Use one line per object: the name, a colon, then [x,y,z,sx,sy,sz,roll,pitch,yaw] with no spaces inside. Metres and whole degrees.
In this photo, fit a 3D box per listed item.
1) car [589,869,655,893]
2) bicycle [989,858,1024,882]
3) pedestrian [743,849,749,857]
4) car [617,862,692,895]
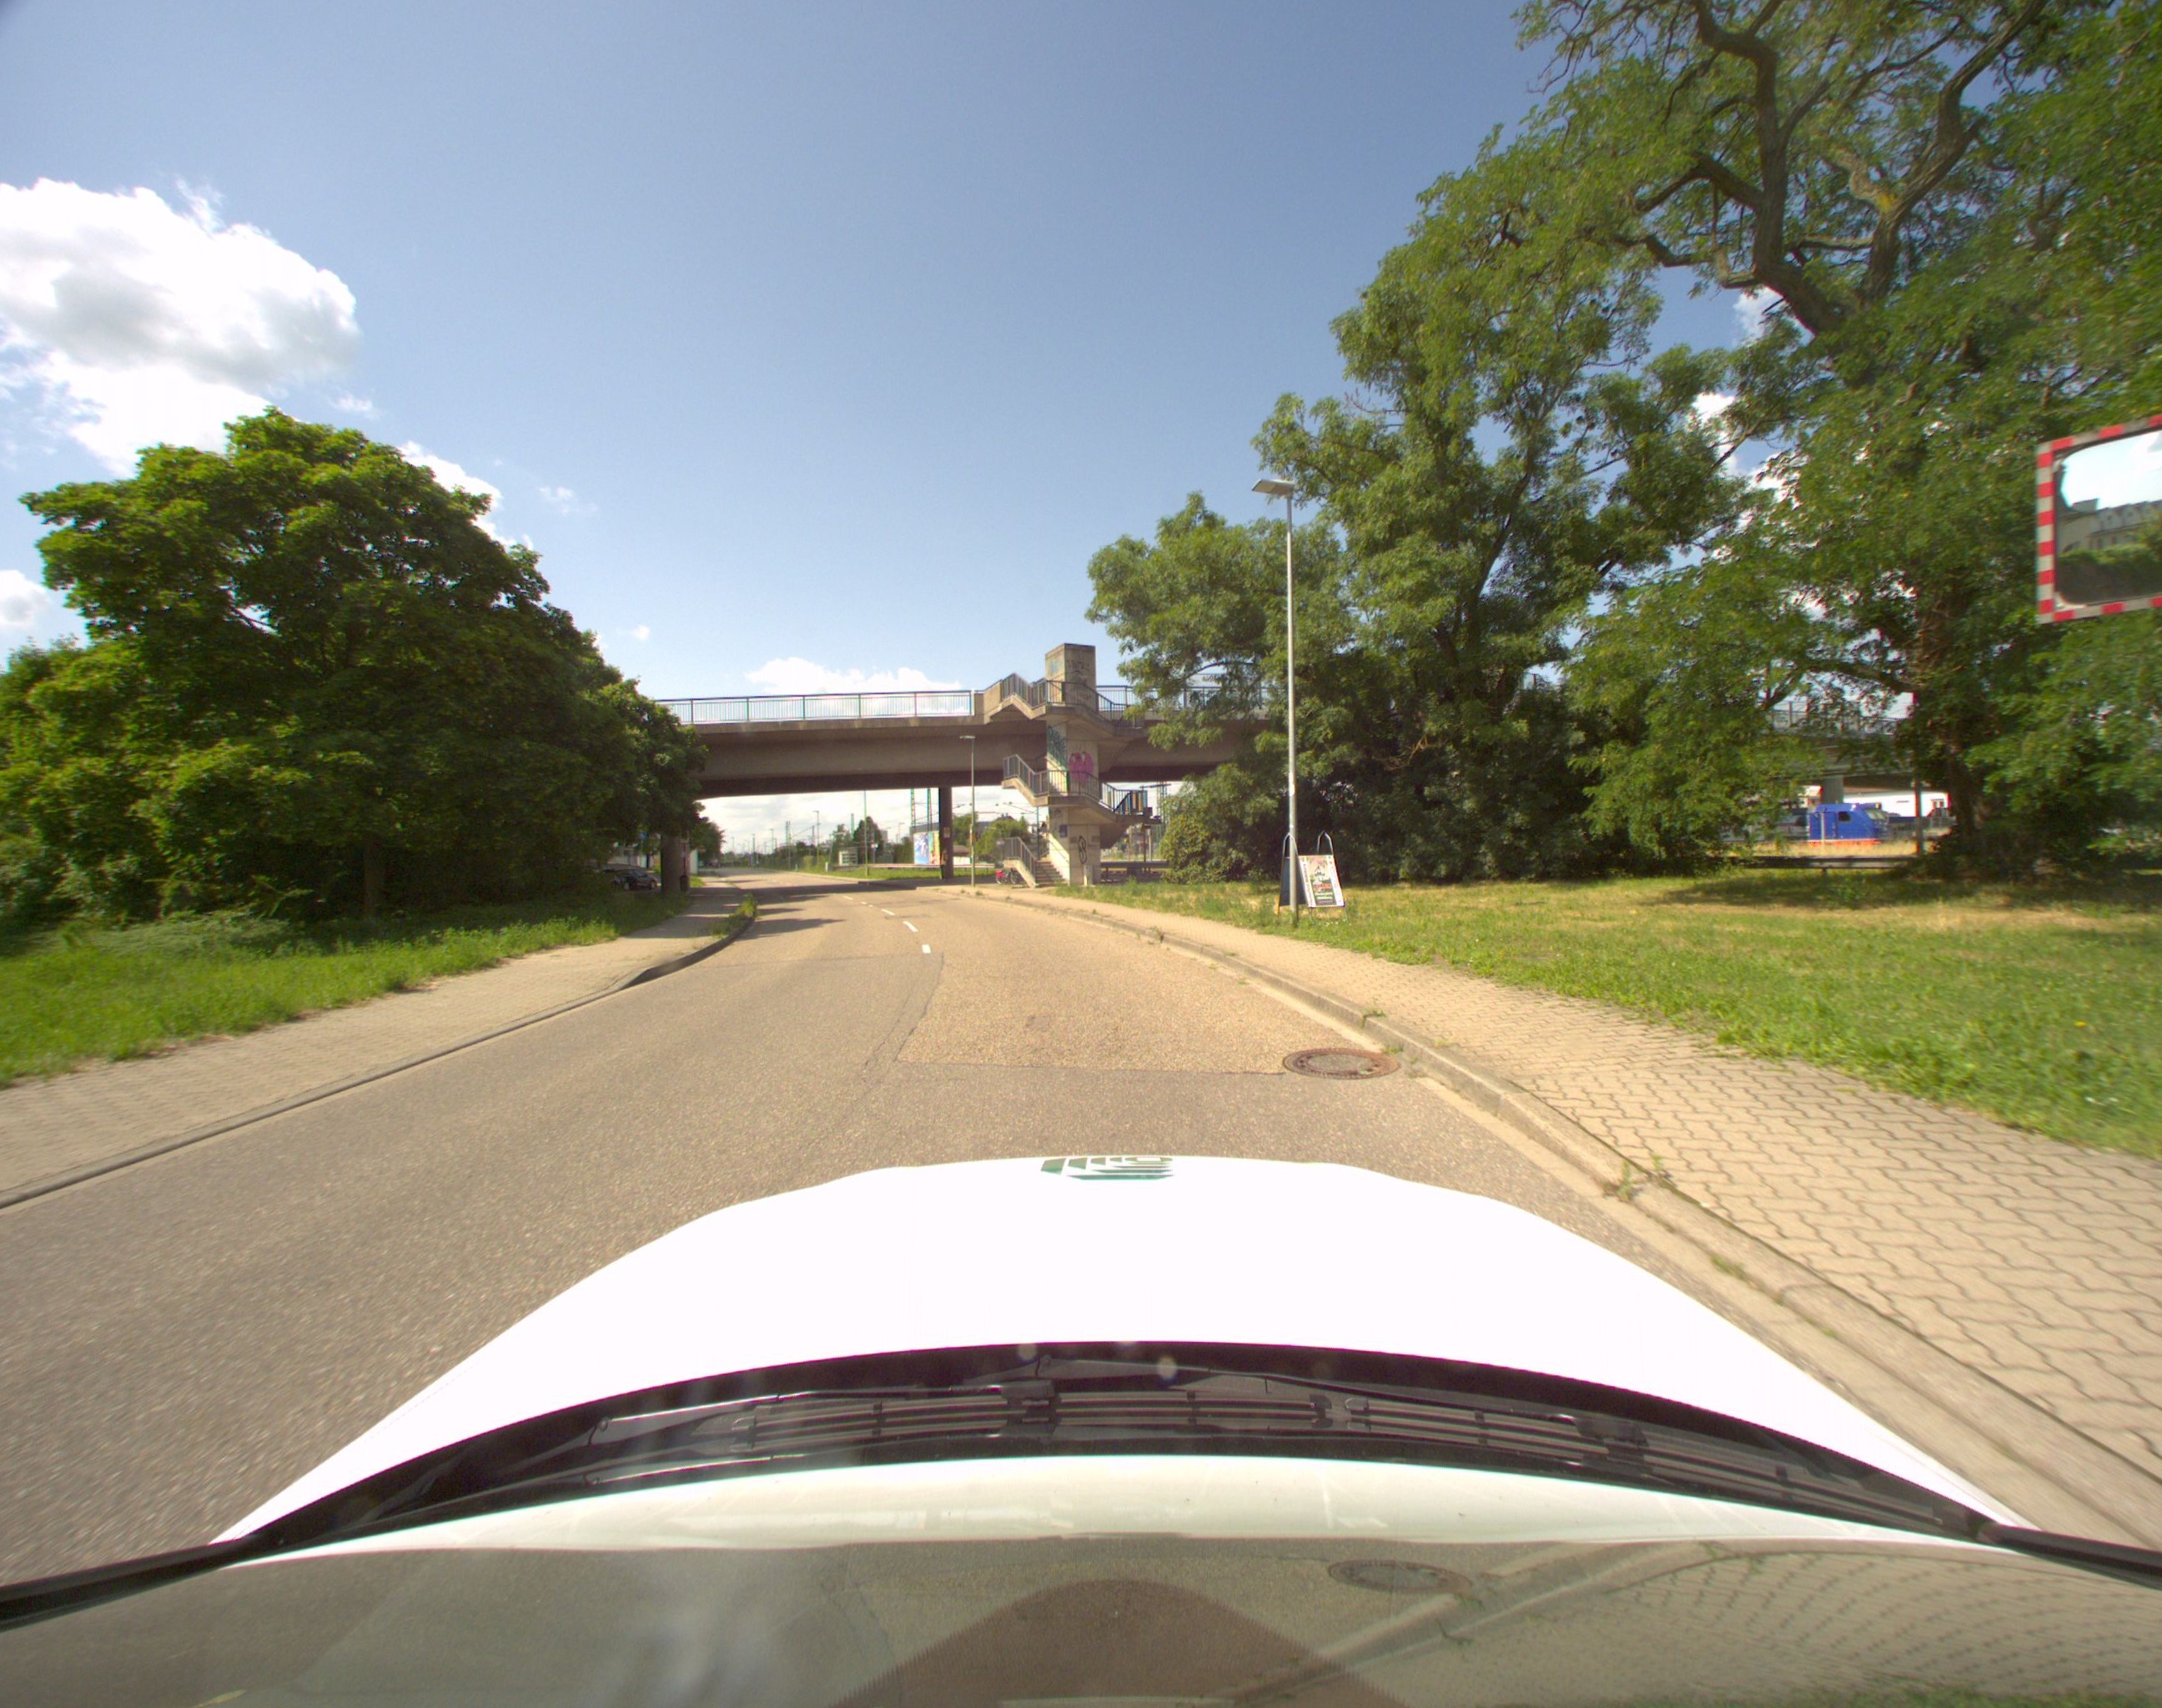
car: [-28.901,1.689,51.360,1.676,1.284,3.462,-3,1,12]
bicycle: [-3.589,0.753,39.050,0.647,1.108,2.168,-4,1,-35]
pedestrian: [-84.315,-0.313,205.154,0.841,2.013,1.066,-1,1,25]
car: [-24.076,1.352,46.193,1.673,1.629,4.576,-3,1,1]
